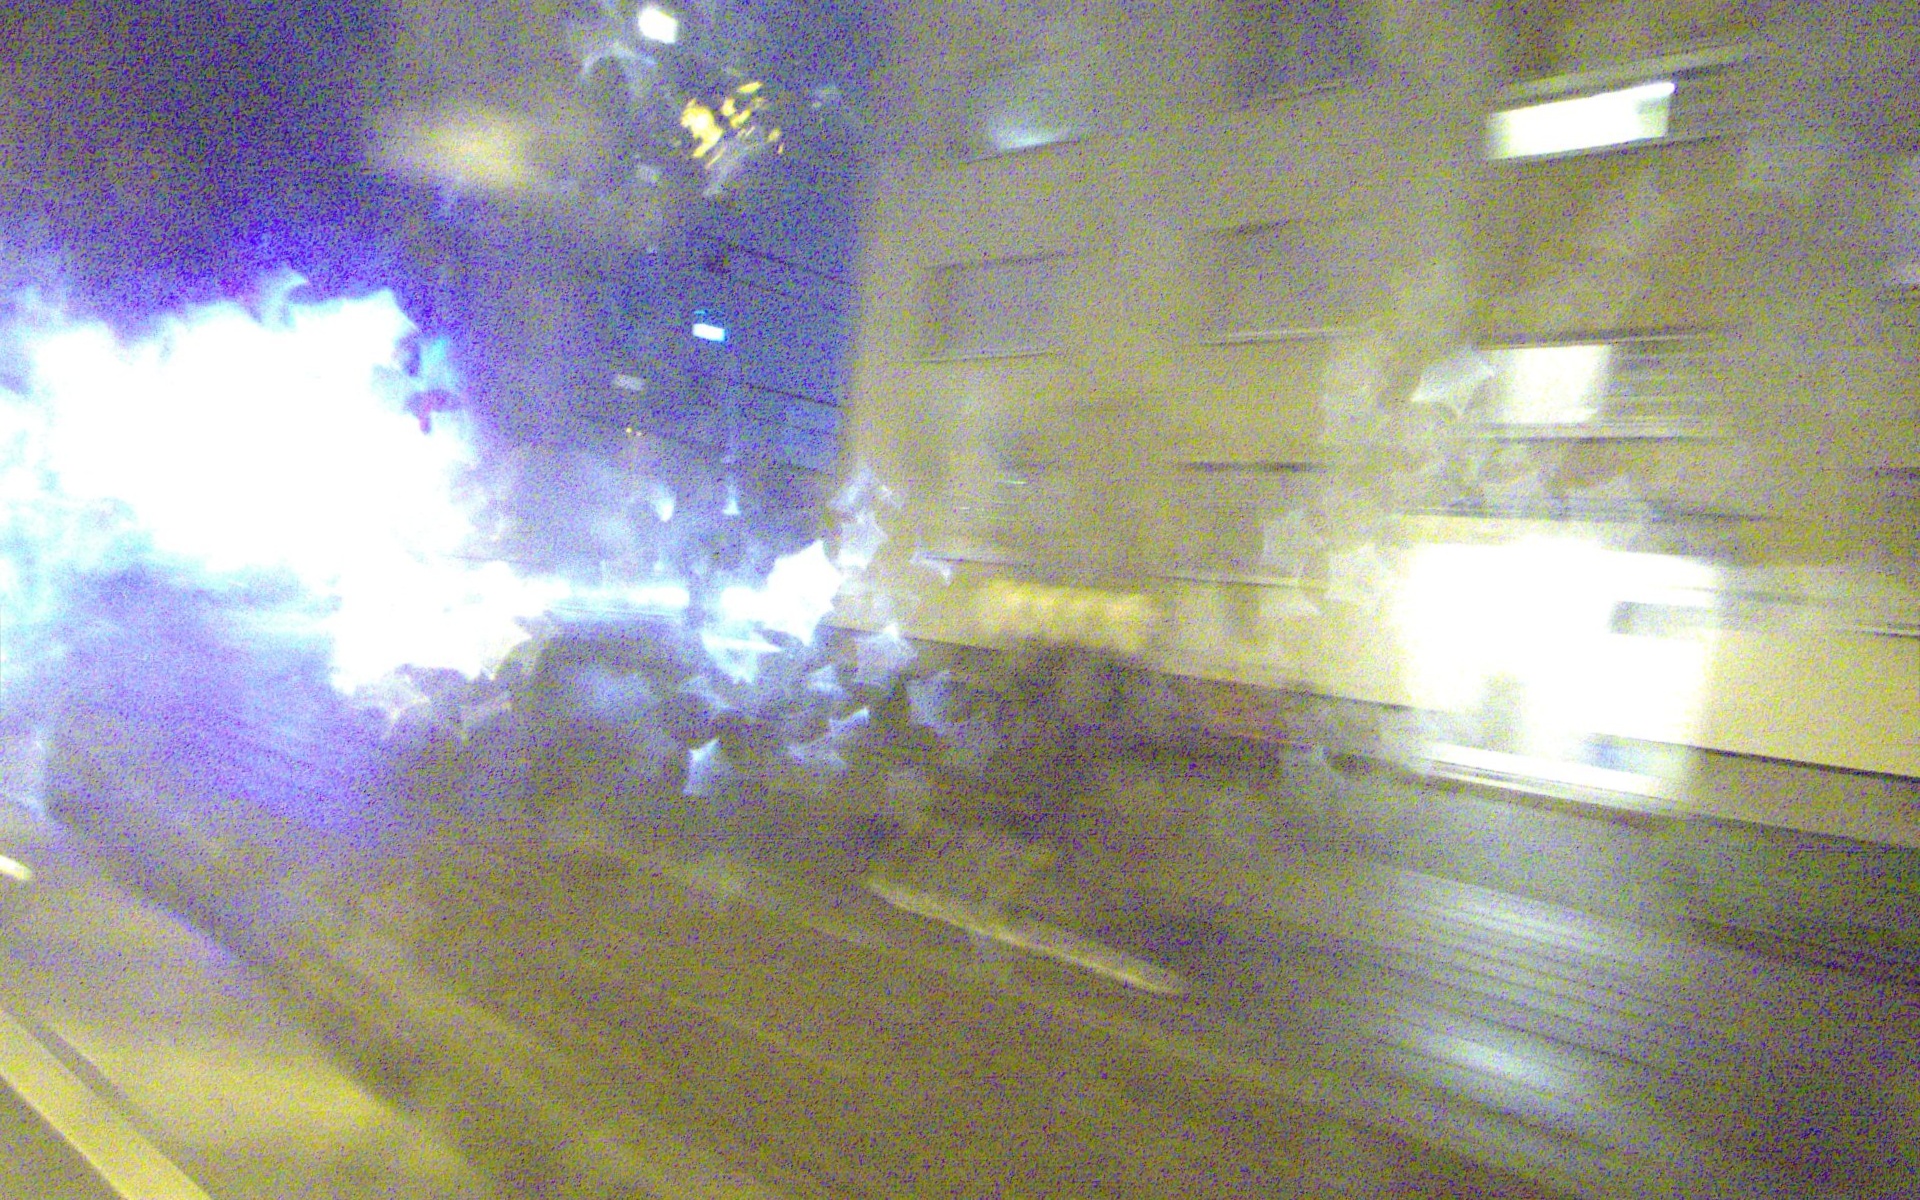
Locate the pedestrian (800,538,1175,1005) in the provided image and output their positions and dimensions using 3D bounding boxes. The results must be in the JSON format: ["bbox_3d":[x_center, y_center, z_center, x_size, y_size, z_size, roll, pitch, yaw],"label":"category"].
[{"bbox_3d":[0.136,0.624,4.241,1.003,1.595,1.049,7,1,37],"label":"pedestrian"}]

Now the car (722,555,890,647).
[{"bbox_3d":[-3.766,0.075,25.256,1.896,1.894,3.991,7,0,31],"label":"car"}]
